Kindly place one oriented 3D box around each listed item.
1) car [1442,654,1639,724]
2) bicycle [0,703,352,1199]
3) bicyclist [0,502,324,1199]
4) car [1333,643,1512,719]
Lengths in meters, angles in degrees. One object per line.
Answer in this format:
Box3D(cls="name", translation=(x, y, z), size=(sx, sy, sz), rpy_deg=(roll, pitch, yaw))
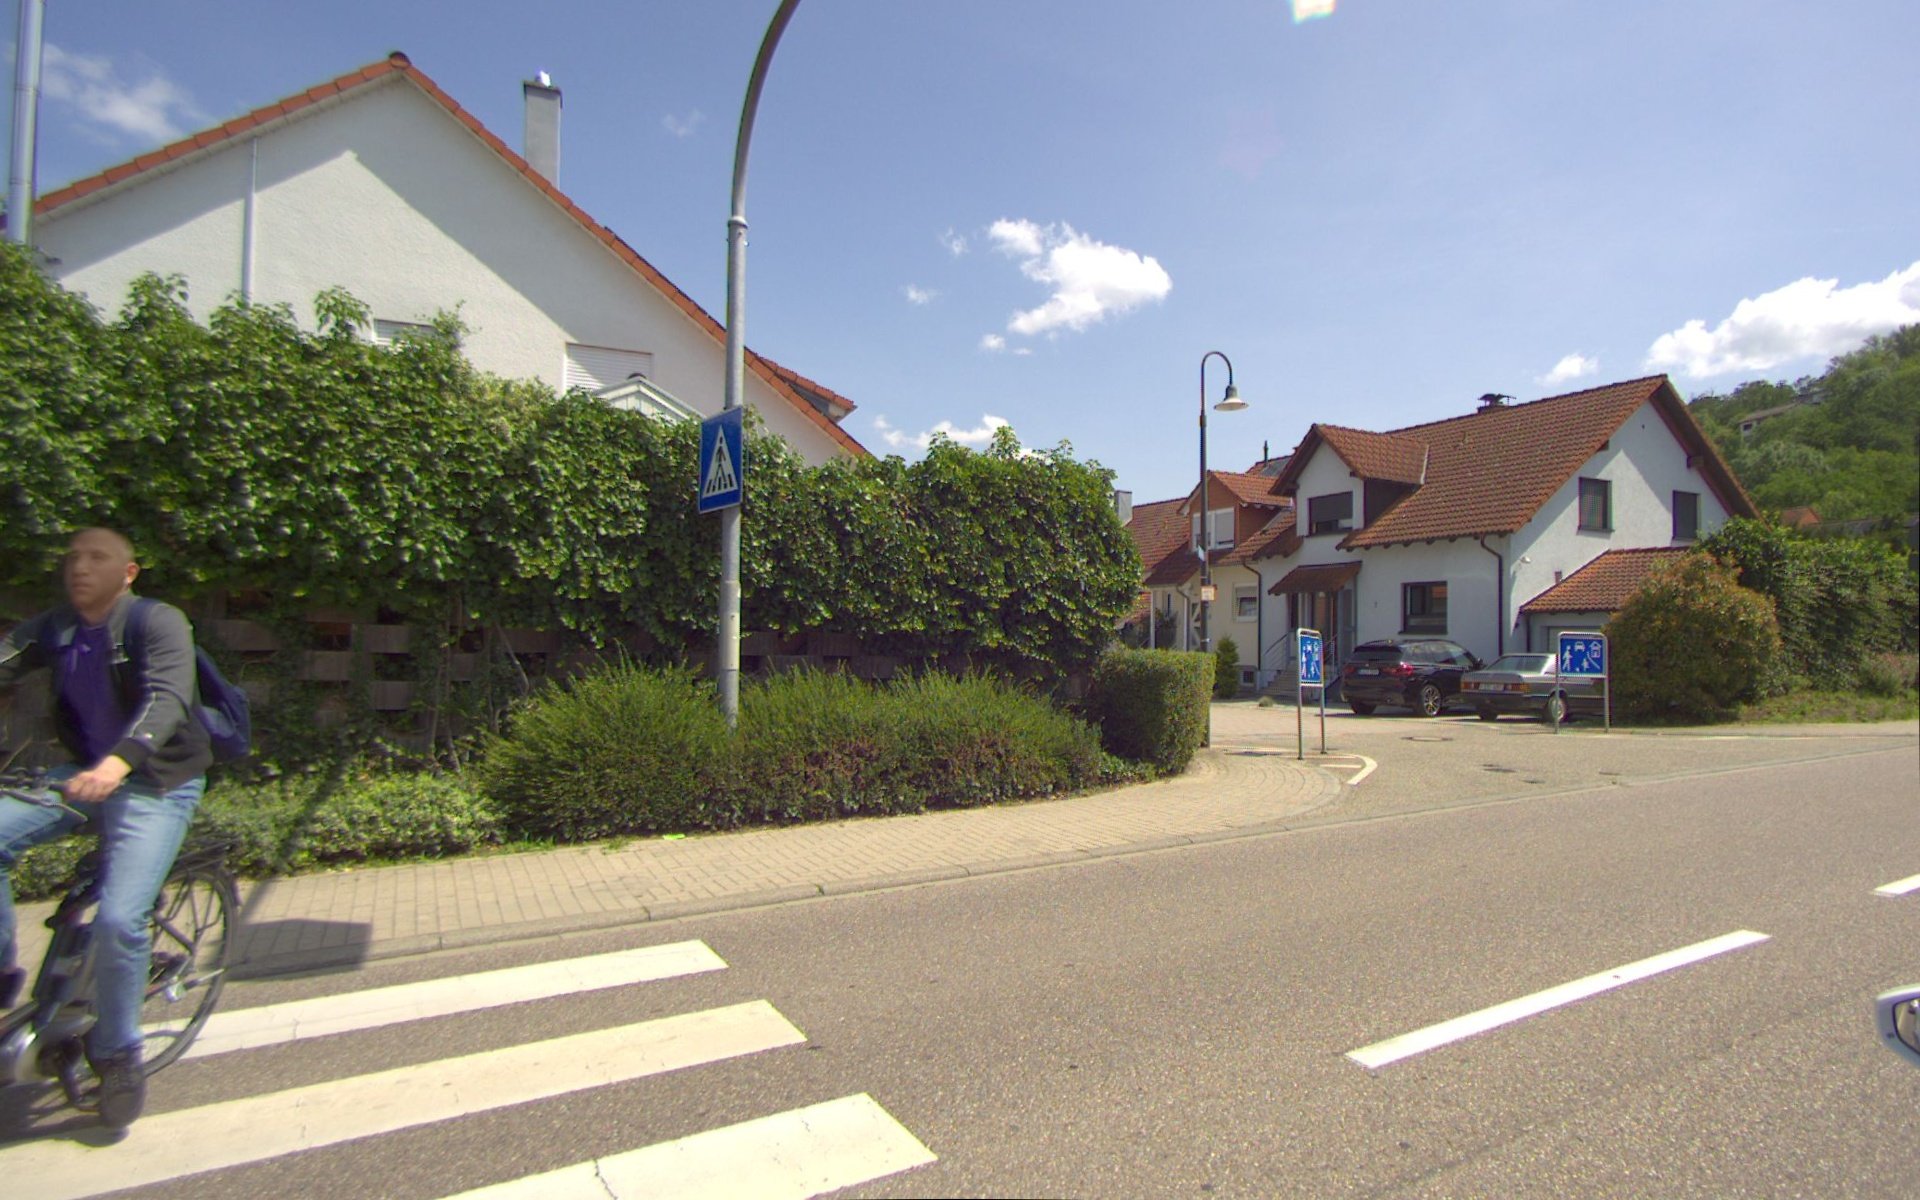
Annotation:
Box3D(cls="car", translation=(12.039, 1.789, 20.794), size=(3.949, 1.302, 1.655), rpy_deg=(1, -4, -28))
Box3D(cls="bicycle", translation=(-2.531, 0.947, 2.877), size=(0.792, 1.180, 1.938), rpy_deg=(1, -3, -14))
Box3D(cls="bicyclist", translation=(-2.504, 0.615, 2.896), size=(0.792, 1.651, 1.108), rpy_deg=(1, -2, -15))
Box3D(cls="car", translation=(10.465, 1.769, 22.684), size=(3.954, 1.570, 1.758), rpy_deg=(1, -3, -31))
